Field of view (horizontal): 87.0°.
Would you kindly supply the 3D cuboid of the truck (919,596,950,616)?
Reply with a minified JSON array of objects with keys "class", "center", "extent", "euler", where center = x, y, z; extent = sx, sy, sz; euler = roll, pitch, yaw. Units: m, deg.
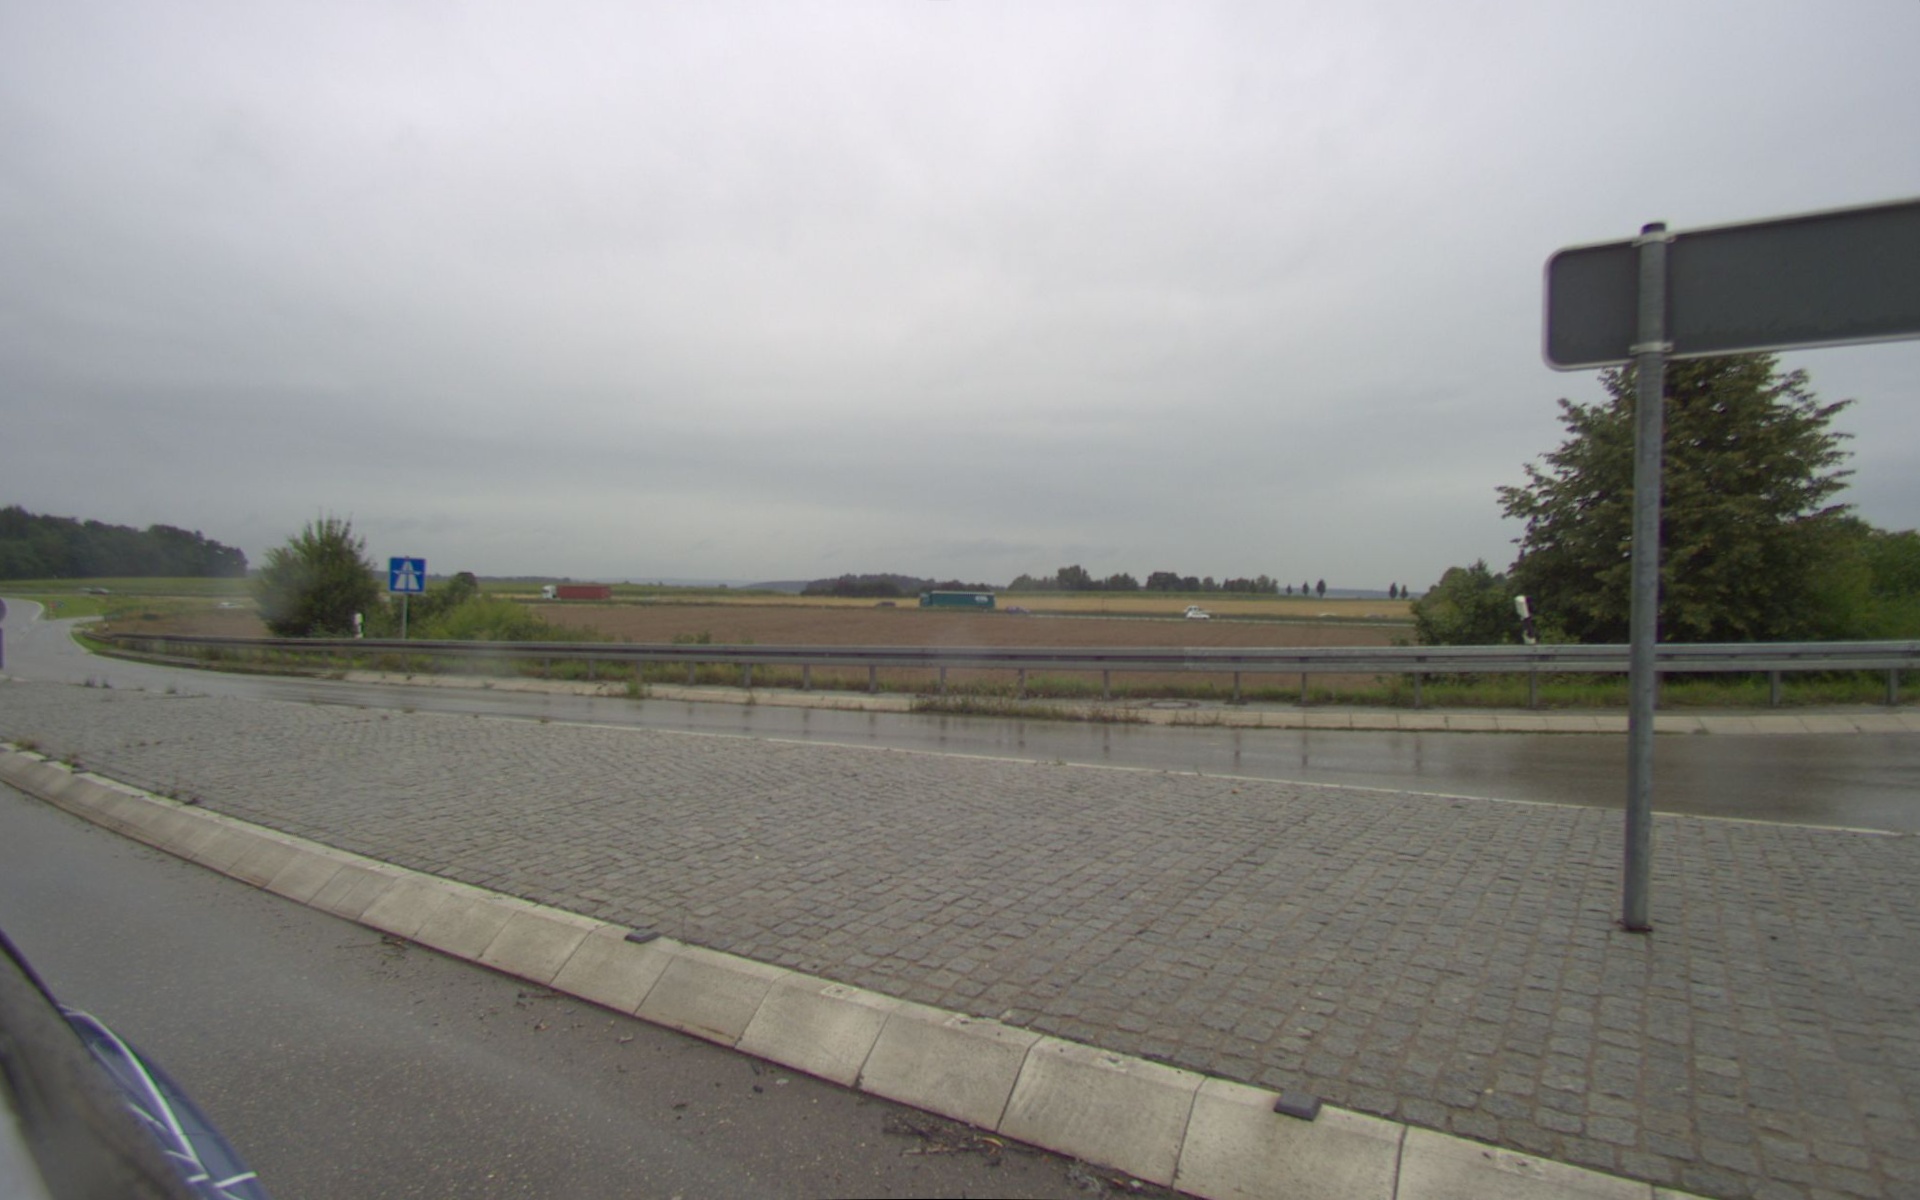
[{"class":"truck","center":[-5.431,1.309,217.836],"extent":[6.209,3.943,2.941],"euler":[1,3,11]}]

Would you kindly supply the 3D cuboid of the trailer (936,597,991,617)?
[{"class":"trailer","center":[0.699,1.490,216.665],"extent":[11.354,3.916,2.941],"euler":[2,3,11]}]

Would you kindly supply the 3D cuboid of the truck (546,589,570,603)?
[{"class":"truck","center":[-92.696,-0.873,233.146],"extent":[4.827,2.933,1.994],"euler":[1,3,11]}]

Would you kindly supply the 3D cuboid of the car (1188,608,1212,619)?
[{"class":"car","center":[50.099,2.841,211.491],"extent":[4.764,2.028,1.992],"euler":[2,3,13]}]

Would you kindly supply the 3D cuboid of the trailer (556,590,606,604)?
[{"class":"trailer","center":[-86.882,-0.723,232.049],"extent":[11.354,2.933,1.994],"euler":[2,3,11]}]

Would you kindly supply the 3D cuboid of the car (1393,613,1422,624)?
[{"class":"car","center":[88.785,3.668,200.744],"extent":[4.764,2.028,1.992],"euler":[2,3,13]}]
